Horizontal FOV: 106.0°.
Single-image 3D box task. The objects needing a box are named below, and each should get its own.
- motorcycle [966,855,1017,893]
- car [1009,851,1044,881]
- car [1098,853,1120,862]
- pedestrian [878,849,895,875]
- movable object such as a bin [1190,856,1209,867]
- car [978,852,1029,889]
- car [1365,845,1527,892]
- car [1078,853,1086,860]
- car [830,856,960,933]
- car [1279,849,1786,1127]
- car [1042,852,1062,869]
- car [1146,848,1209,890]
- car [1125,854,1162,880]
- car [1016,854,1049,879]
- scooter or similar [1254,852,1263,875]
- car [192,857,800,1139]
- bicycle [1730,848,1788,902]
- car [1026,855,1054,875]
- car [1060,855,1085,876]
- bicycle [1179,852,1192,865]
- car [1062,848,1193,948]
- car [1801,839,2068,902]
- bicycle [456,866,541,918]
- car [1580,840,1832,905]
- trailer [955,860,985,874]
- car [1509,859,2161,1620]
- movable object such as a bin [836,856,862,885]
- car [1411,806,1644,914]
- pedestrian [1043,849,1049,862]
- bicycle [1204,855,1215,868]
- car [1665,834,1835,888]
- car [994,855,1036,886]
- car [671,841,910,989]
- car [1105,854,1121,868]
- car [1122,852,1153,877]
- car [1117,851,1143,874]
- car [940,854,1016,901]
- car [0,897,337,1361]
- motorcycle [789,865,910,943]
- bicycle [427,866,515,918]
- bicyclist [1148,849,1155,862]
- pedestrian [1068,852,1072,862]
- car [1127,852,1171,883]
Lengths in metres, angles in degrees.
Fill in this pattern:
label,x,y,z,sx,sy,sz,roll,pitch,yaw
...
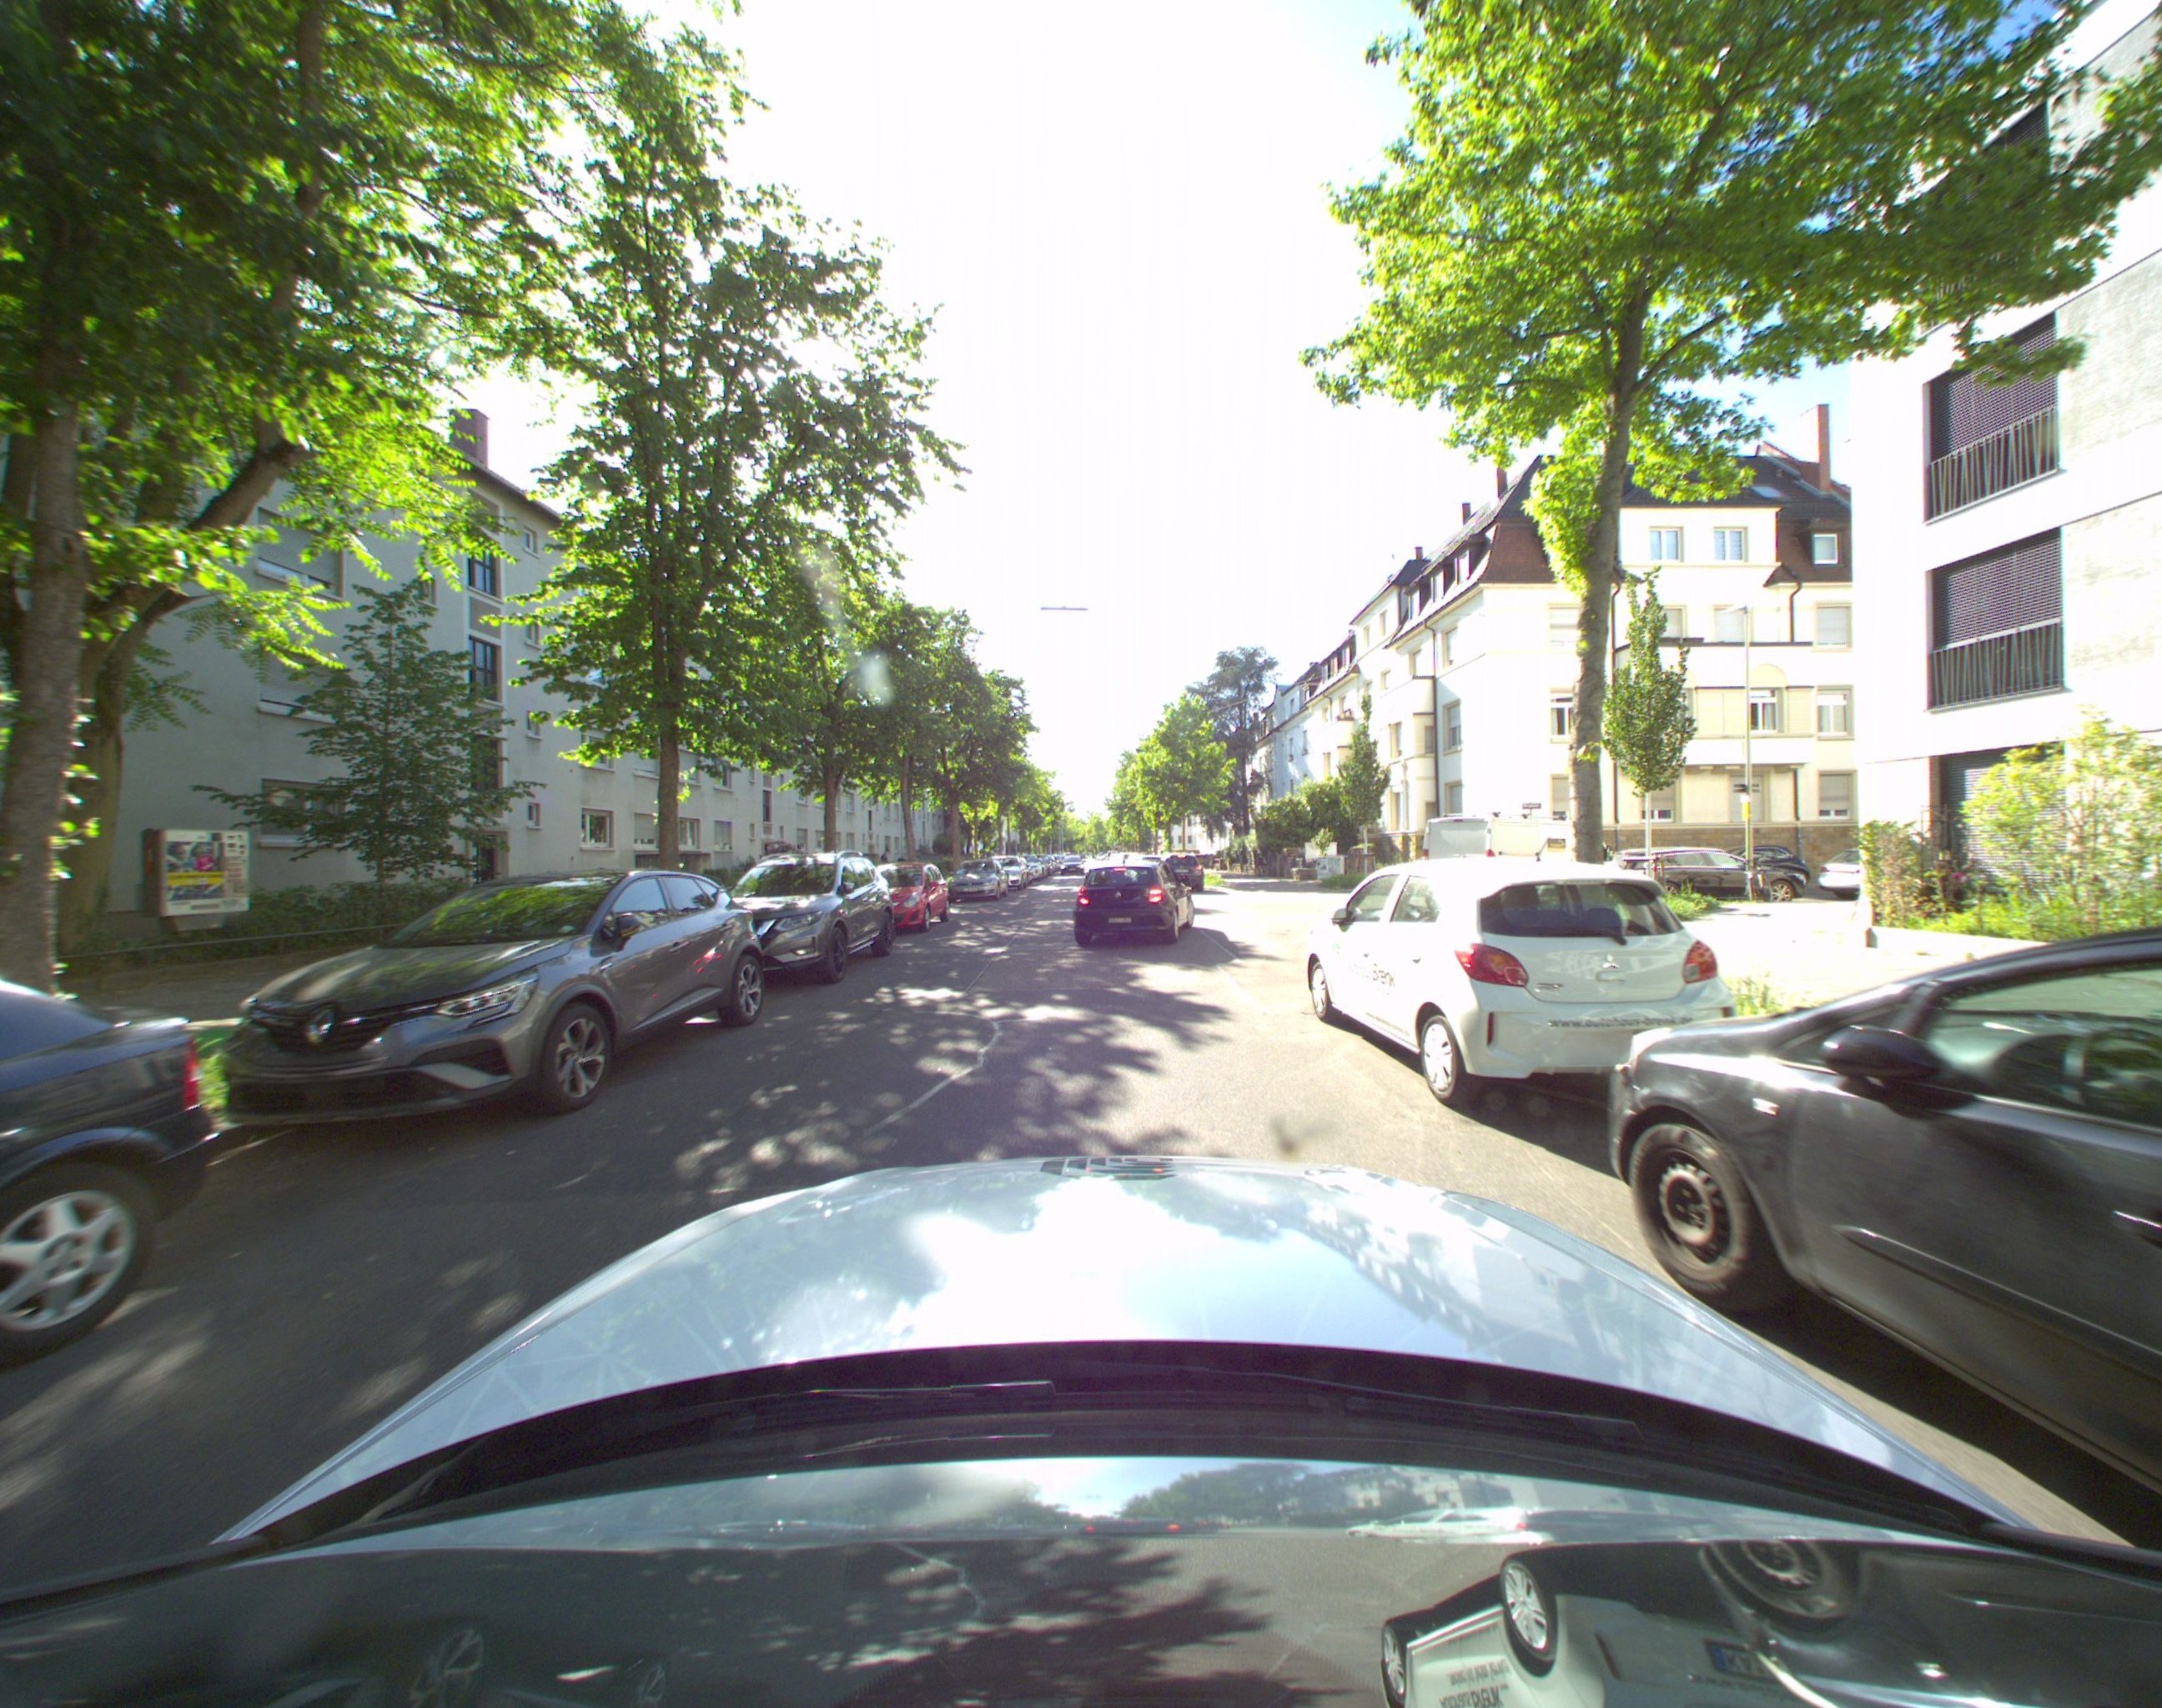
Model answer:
label,x,y,z,sx,sy,sz,roll,pitch,yaw
motorcycle,-3.717,0.820,33.607,0.995,1.503,2.207,-2,0,-39
car,-3.237,0.712,49.334,1.723,1.618,4.365,-4,0,0
car,5.313,0.621,153.981,3.979,1.587,1.725,-1,0,-4
pedestrian,-14.586,0.573,61.107,0.773,1.913,0.884,-2,0,27
movable object such as a bin,9.811,0.627,67.284,1.211,0.905,1.673,-1,0,21
car,-3.519,0.709,37.584,2.059,1.524,4.717,-1,0,-2
car,12.062,0.483,27.265,4.683,1.469,1.961,-1,0,14
car,0.196,0.620,212.632,1.779,1.609,3.995,-1,0,-4
car,-4.010,0.804,18.283,1.850,1.469,4.183,-1,0,1
car,2.953,0.722,6.431,1.728,1.487,4.007,0,0,-1
car,-2.869,0.628,82.222,1.805,1.596,4.232,-2,0,0
car,3.770,0.585,32.650,1.890,1.524,4.965,0,-1,-1
car,3.571,0.699,47.135,1.705,1.410,4.860,1,0,-1
car,-3.204,0.831,54.675,1.722,1.477,4.620,-4,0,1
scooter or similar,9.436,0.508,43.263,0.398,1.185,1.211,-1,1,16
car,-4.056,0.818,6.787,1.762,1.531,4.421,-1,0,1
bicycle,15.509,0.448,18.624,2.003,1.174,0.655,0,-1,-40
car,-3.045,0.832,61.664,1.773,1.379,4.263,-3,0,1
car,-0.642,0.852,61.739,1.803,1.445,4.365,-3,0,0
bicycle,10.231,0.405,79.654,0.836,1.257,2.229,0,0,-3
car,0.986,0.690,14.787,1.771,1.523,4.013,-2,0,11
car,21.822,0.392,20.973,4.912,1.429,1.961,-1,2,-1
bicycle,-14.628,0.919,20.525,0.683,1.201,1.913,-1,0,3
car,15.762,0.444,20.730,4.914,1.469,2.046,-1,0,-2
trailer,-8.686,0.999,63.918,1.782,1.034,3.283,-1,0,3
car,2.930,0.768,1.861,1.665,1.450,4.177,1,0,-1
movable object such as a bin,-11.188,0.778,39.284,0.928,1.324,1.377,-2,0,-5
car,10.669,0.079,19.450,5.062,2.306,2.217,-1,0,-23
pedestrian,-5.766,0.227,134.099,0.854,2.013,0.983,-1,0,9
bicycle,10.051,0.562,63.776,0.579,0.975,1.904,-2,0,2
car,22.086,0.212,26.987,4.159,1.641,1.833,-1,0,-1
car,-3.398,0.821,42.769,1.723,1.446,4.820,-3,0,0
car,-3.935,0.715,12.024,1.762,1.688,4.813,-2,0,0
car,4.417,0.965,112.598,1.964,1.949,4.984,-1,0,0
car,3.626,0.663,52.862,1.649,1.532,3.968,1,0,-1
car,3.721,0.601,62.444,1.918,1.651,5.098,1,0,2
car,-3.663,0.789,29.753,2.035,1.524,4.608,-1,0,2
car,-4.193,0.900,1.358,1.779,1.352,4.480,-2,0,-1
motorcycle,-4.240,0.910,14.980,1.942,1.332,0.789,-2,0,8
bicycle,-15.332,0.922,20.544,0.683,1.201,1.913,-1,0,3
bicyclist,9.166,0.201,106.211,0.674,1.553,1.021,-1,0,-3
pedestrian,-2.229,0.622,161.756,0.715,1.900,0.834,-1,0,-9
car,3.434,0.654,42.146,1.816,1.469,4.907,1,0,-1
